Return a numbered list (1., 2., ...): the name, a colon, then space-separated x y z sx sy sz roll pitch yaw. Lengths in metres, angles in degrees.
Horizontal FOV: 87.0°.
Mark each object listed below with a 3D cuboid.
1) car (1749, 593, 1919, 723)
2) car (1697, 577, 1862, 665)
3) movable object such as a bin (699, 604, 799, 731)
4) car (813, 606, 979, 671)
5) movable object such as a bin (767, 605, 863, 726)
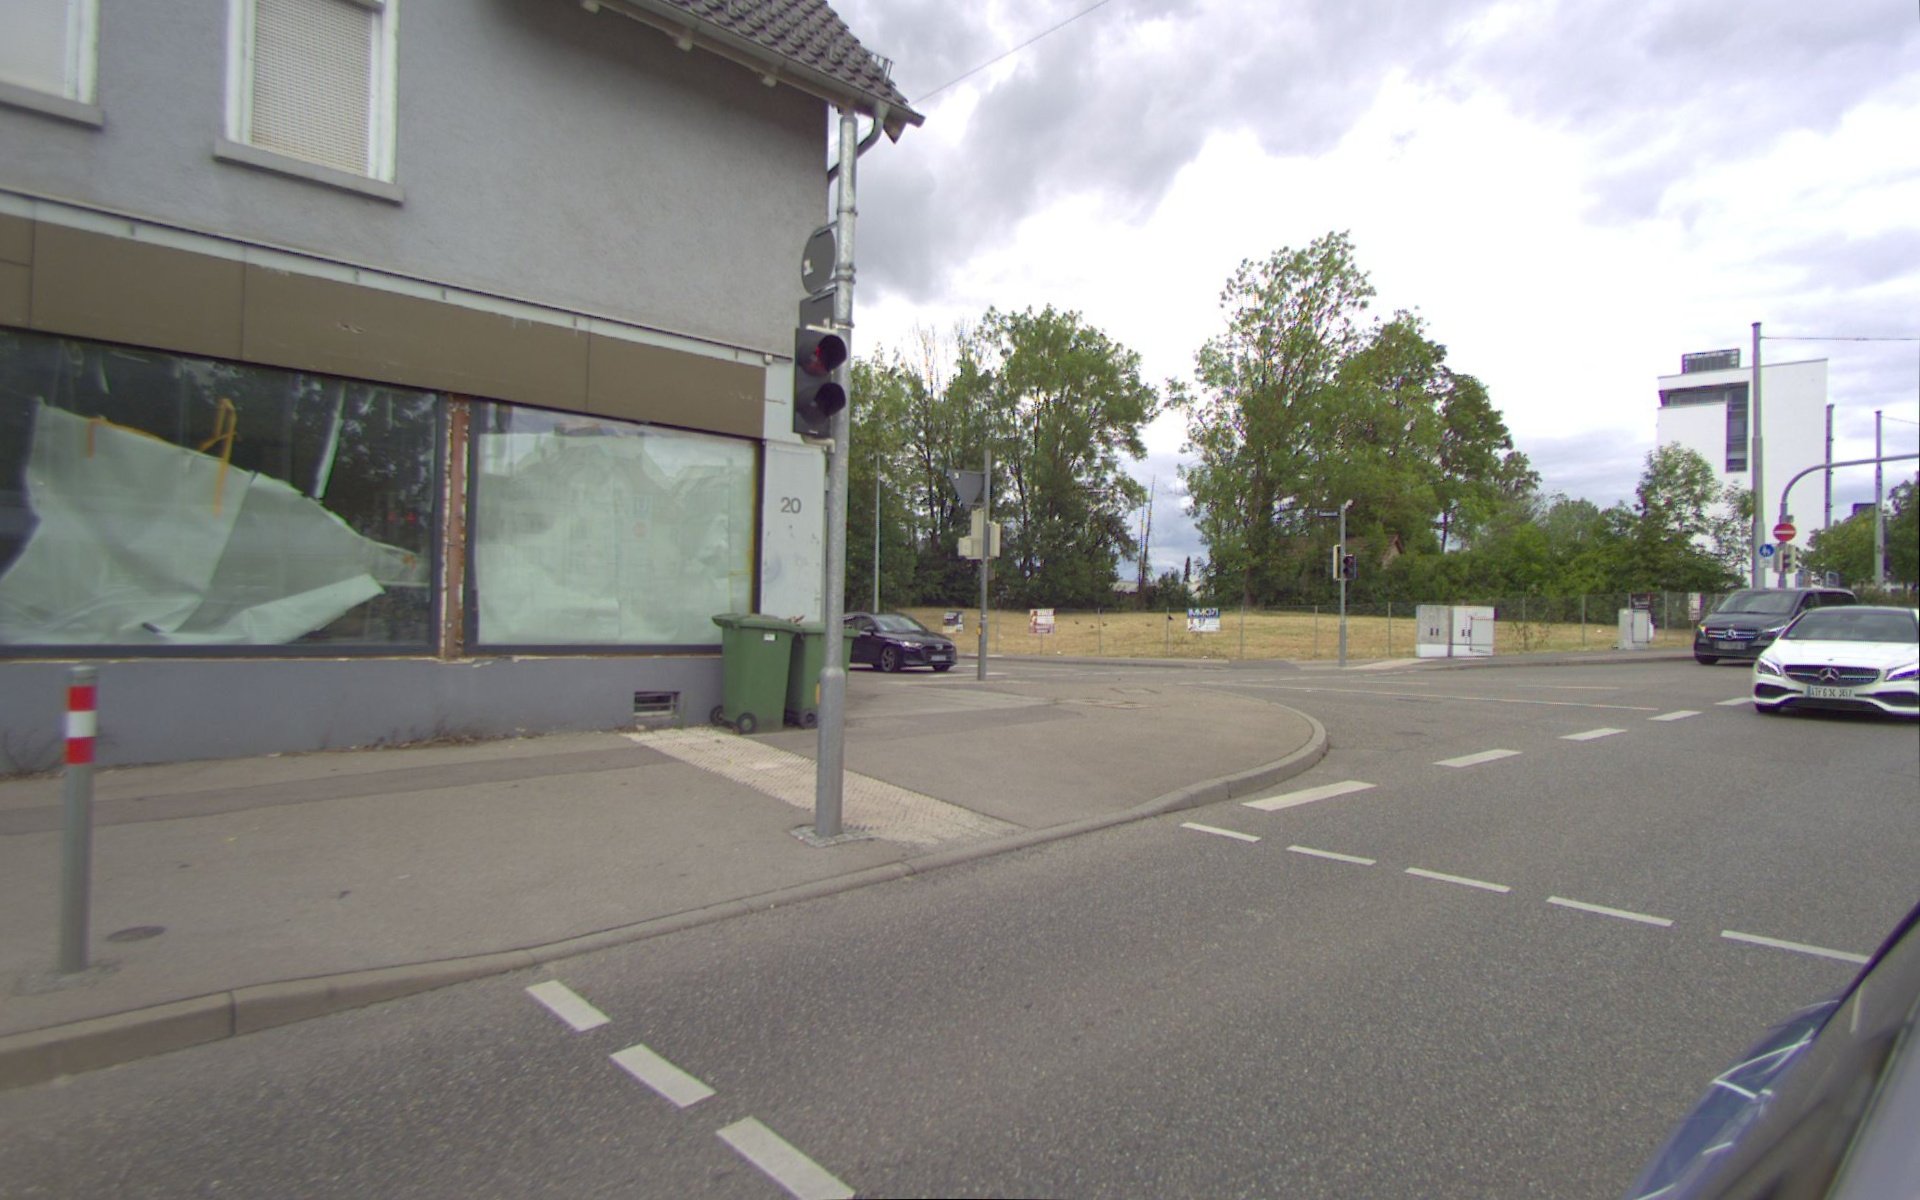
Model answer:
1. car: 12.599 0.665 13.897 4.615 1.491 1.798 0 1 -39
2. car: 19.768 0.425 24.361 4.785 1.911 2.016 0 1 -37
3. movable object such as a bin: -1.961 0.597 9.398 0.697 1.118 0.610 0 0 -40
4. car: -1.673 0.873 24.937 1.874 1.440 4.350 0 0 -40
5. movable object such as a bin: -1.425 0.618 9.931 0.697 1.118 0.627 0 0 -40
